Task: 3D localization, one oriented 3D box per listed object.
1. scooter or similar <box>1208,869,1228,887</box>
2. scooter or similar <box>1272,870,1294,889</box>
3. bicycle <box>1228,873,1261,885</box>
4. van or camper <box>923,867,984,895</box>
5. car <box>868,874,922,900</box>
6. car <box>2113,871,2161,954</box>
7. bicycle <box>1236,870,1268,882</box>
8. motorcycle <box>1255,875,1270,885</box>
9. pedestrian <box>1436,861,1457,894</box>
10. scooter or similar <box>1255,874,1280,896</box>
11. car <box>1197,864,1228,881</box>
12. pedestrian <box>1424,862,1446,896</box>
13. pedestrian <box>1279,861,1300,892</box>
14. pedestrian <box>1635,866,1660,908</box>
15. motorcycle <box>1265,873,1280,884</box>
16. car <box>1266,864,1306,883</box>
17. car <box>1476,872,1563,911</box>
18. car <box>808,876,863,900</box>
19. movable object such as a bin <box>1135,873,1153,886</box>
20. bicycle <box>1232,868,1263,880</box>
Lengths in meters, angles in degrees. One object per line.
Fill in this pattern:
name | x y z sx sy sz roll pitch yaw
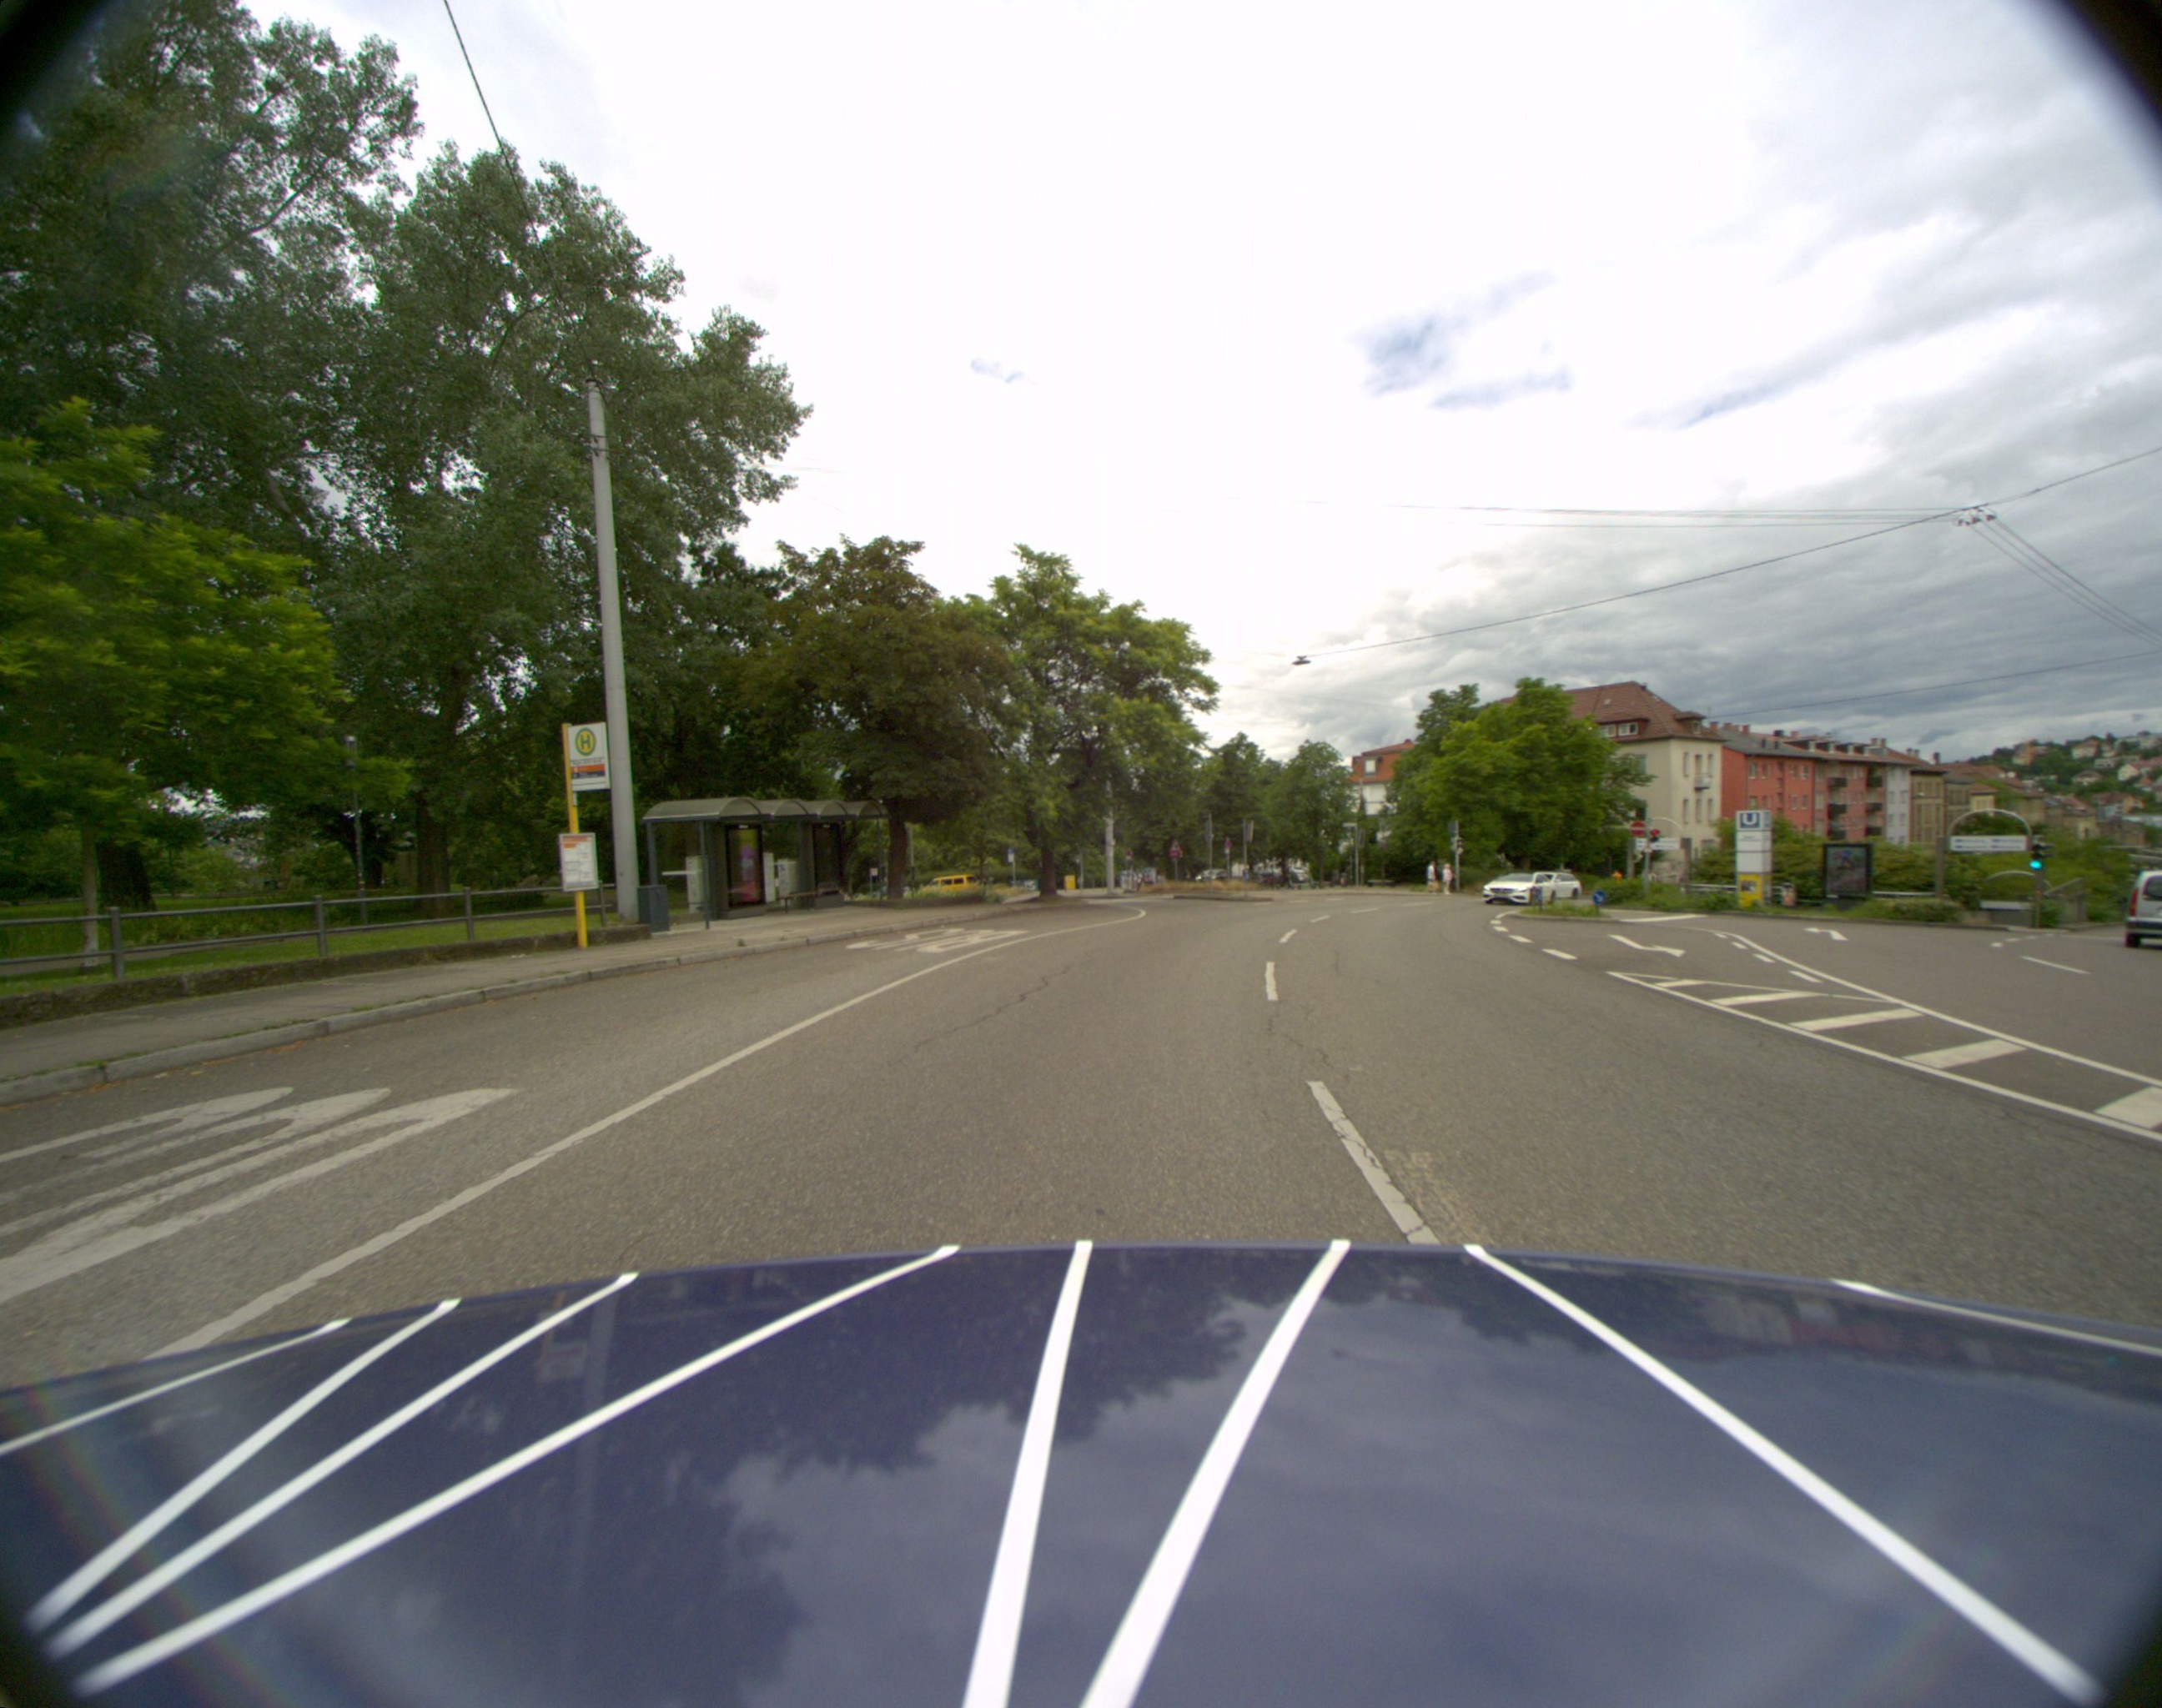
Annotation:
scooter or similar | 9.702 1.704 53.726 1.320 1.240 0.464 0 -1 -10
scooter or similar | 12.968 1.639 48.817 1.244 1.218 0.502 -2 -2 37
bicycle | 15.420 2.388 71.655 2.957 1.138 0.922 1 -1 -18
van or camper | -10.211 2.148 60.869 4.461 1.965 1.893 -4 0 25
car | -15.435 2.700 63.064 3.990 2.001 2.004 0 -1 23
car | 25.523 1.305 17.574 4.047 1.819 1.913 1 -1 -37
bicycle | 16.508 2.133 73.476 2.957 1.138 0.922 1 -1 -18
motorcycle | 18.876 2.699 78.988 0.753 1.027 2.060 0 -1 38
pedestrian | 19.265 1.247 40.020 0.728 1.703 0.615 1 2 -28
scooter or similar | 10.560 1.750 43.091 1.244 1.218 0.502 -2 -2 37
car | 14.963 2.060 86.232 1.995 1.892 4.725 -1 -1 30
pedestrian | 18.149 1.272 38.915 0.728 1.703 0.615 1 2 -28
pedestrian | 12.772 1.379 46.575 0.857 1.875 0.964 0 -1 -14
pedestrian | 25.416 1.473 34.090 0.615 1.849 0.706 2 -2 -26
motorcycle | 19.790 2.528 78.541 0.753 1.027 2.060 0 -1 38
car | 22.245 2.124 82.359 3.777 2.001 2.004 0 -1 30
car | 18.711 1.547 32.362 4.239 1.390 1.993 1 2 -43
car | -20.939 2.873 64.846 3.993 2.001 2.002 0 -1 11
movable object such as a bin | 5.845 2.365 70.585 1.316 1.159 1.060 1 -1 -24
bicycle | 16.326 1.989 74.608 2.957 1.138 0.922 1 -1 -18
